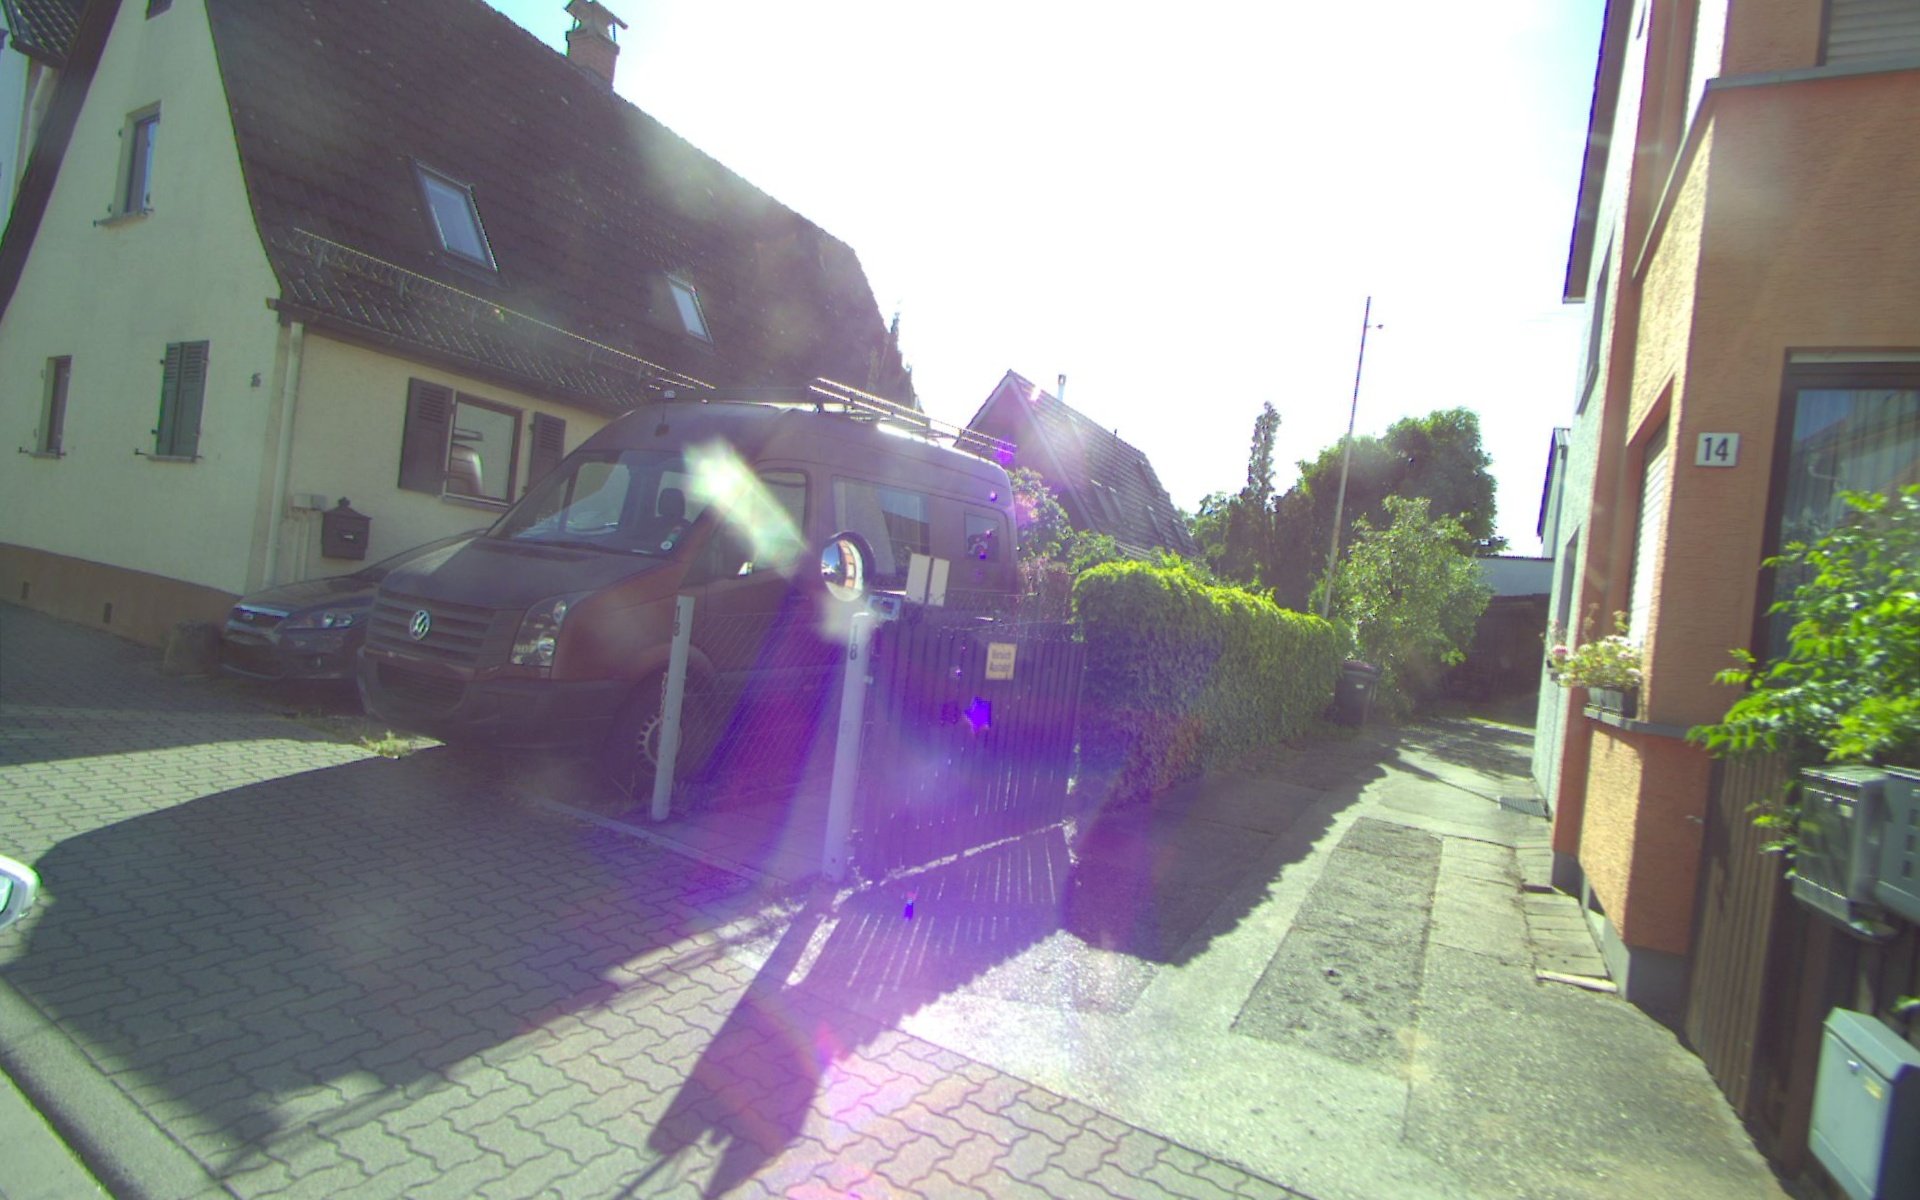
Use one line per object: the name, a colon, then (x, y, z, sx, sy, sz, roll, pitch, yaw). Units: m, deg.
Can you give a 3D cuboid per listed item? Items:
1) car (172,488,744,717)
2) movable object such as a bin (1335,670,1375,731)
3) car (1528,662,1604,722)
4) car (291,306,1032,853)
car: (-4.231, 0.053, 9.275, 1.808, 1.506, 4.378, 7, 1, 30)
movable object such as a bin: (6.424, 1.634, 16.368, 0.448, 0.927, 0.399, 7, -2, 30)
car: (18.057, 2.789, 30.113, 1.578, 1.432, 4.000, 7, -3, 29)
car: (-1.599, -0.079, 7.954, 1.933, 2.689, 5.811, 7, 1, 28)
